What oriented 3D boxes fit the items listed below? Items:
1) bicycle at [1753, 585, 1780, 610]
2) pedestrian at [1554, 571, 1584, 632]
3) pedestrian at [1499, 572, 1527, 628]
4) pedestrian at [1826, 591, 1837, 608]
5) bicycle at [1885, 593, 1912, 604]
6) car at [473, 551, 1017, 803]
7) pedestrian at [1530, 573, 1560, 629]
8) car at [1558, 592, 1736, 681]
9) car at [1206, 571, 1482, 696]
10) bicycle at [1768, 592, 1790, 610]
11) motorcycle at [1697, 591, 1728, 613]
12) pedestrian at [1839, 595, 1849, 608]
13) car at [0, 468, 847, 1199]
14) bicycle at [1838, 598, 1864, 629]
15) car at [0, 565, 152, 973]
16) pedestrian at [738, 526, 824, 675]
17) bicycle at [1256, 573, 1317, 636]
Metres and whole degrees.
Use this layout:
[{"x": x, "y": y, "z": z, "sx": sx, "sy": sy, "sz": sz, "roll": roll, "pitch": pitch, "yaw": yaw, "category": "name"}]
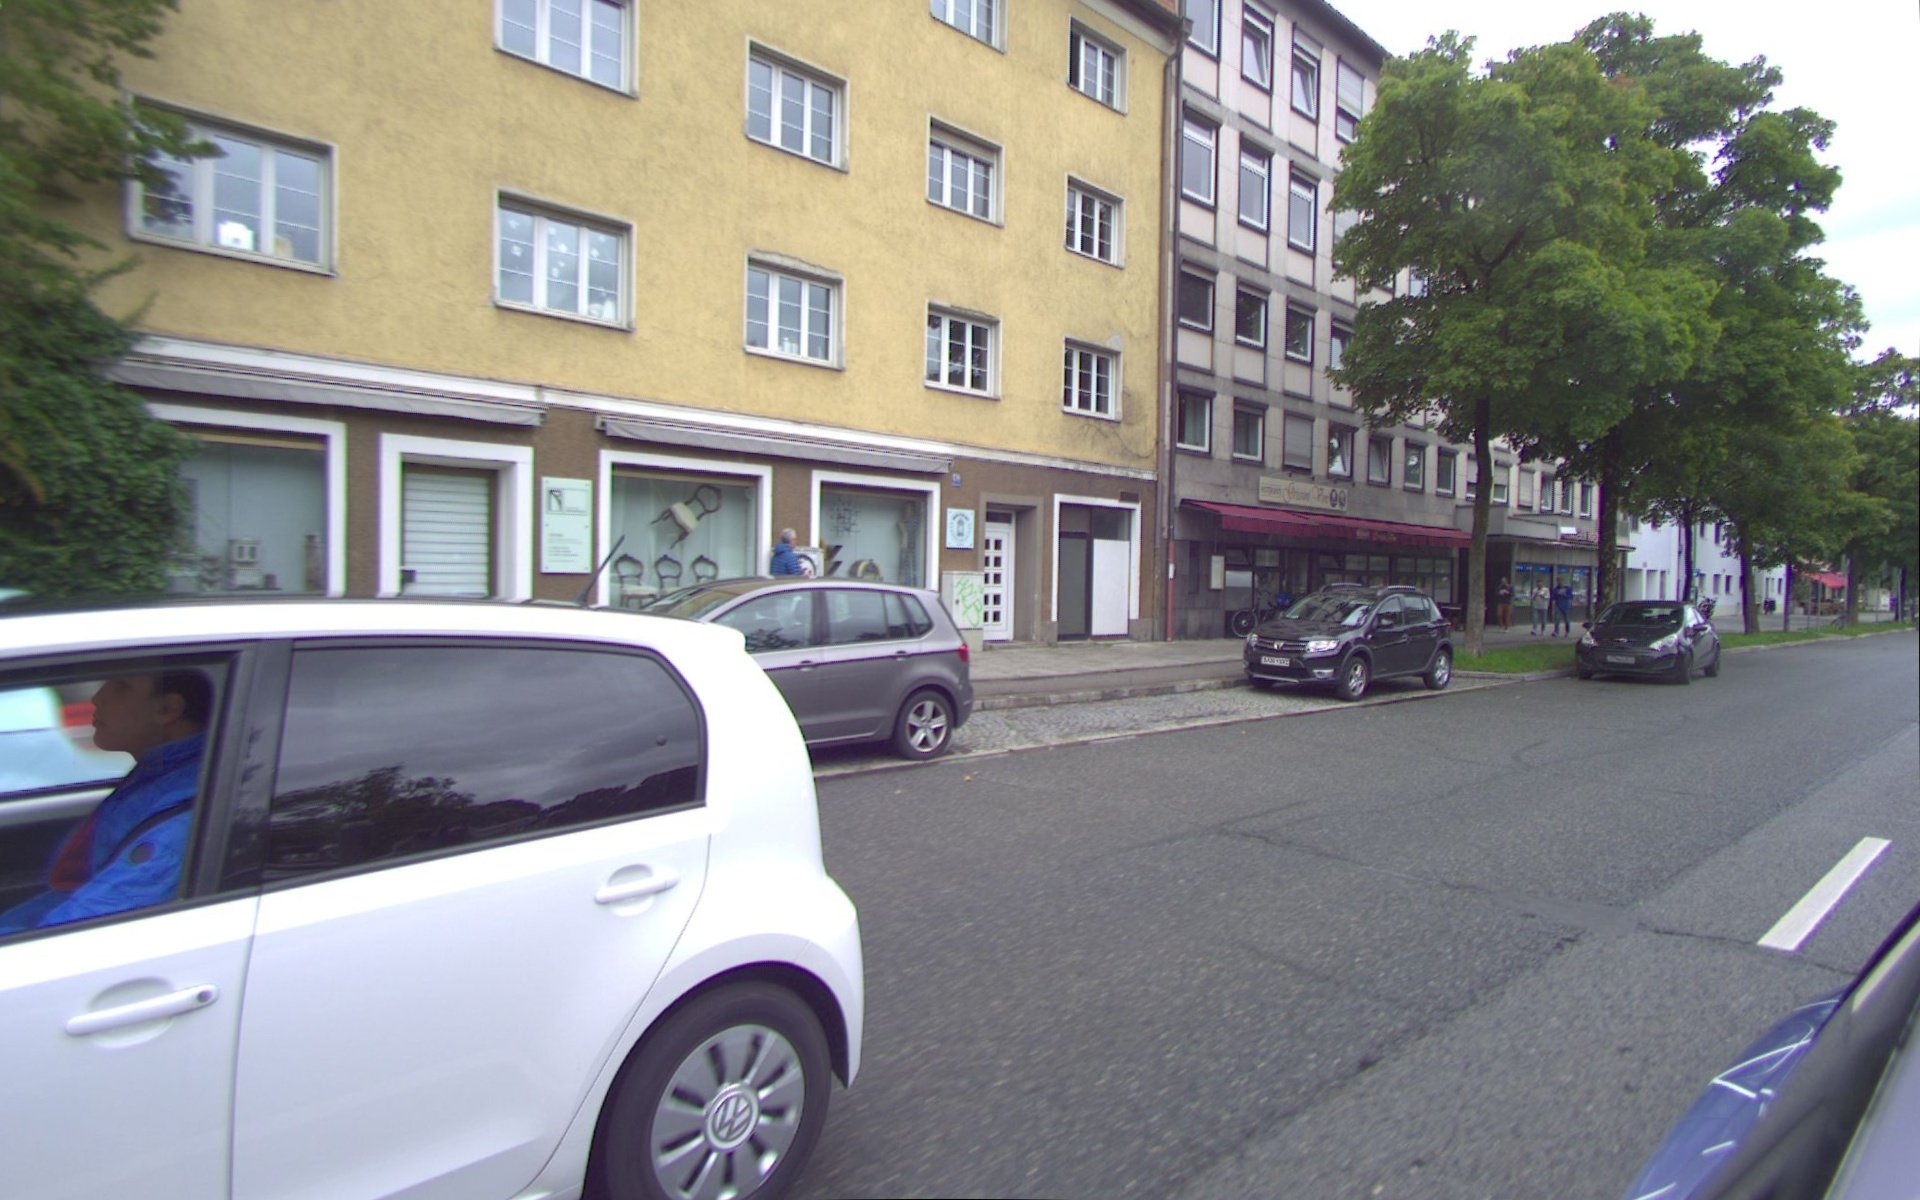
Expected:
[{"x": 49.243, "y": -0.156, "z": 61.765, "sx": 2.547, "sy": 1.424, "sz": 0.704, "roll": 0, "pitch": 5, "yaw": -41, "category": "bicycle"}, {"x": 17.910, "y": 0.045, "z": 29.761, "sx": 0.720, "sy": 1.754, "sz": 0.501, "roll": 0, "pitch": 2, "yaw": -40, "category": "pedestrian"}, {"x": 16.992, "y": -0.002, "z": 31.089, "sx": 0.541, "sy": 1.661, "sz": 0.713, "roll": 3, "pitch": 2, "yaw": 43, "category": "pedestrian"}, {"x": 68.336, "y": -0.052, "z": 79.369, "sx": 0.543, "sy": 1.356, "sz": 0.539, "roll": 0, "pitch": 1, "yaw": -41, "category": "pedestrian"}, {"x": 99.529, "y": -0.138, "z": 107.332, "sx": 0.653, "sy": 1.081, "sz": 2.028, "roll": 0, "pitch": 1, "yaw": -44, "category": "bicycle"}, {"x": -1.691, "y": 0.479, "z": 8.756, "sx": 4.230, "sy": 1.646, "sz": 1.820, "roll": 0, "pitch": 3, "yaw": -40, "category": "car"}, {"x": 17.718, "y": 0.027, "z": 30.660, "sx": 0.630, "sy": 1.649, "sz": 0.550, "roll": 0, "pitch": 2, "yaw": -40, "category": "pedestrian"}, {"x": 12.886, "y": 0.592, "z": 18.907, "sx": 3.934, "sy": 1.470, "sz": 1.995, "roll": 0, "pitch": 1, "yaw": -44, "category": "car"}, {"x": 6.001, "y": 0.431, "z": 15.654, "sx": 4.251, "sy": 1.663, "sz": 2.000, "roll": 0, "pitch": 1, "yaw": -36, "category": "car"}, {"x": 52.555, "y": 0.066, "z": 64.920, "sx": 2.156, "sy": 1.059, "sz": 0.623, "roll": 0, "pitch": 5, "yaw": -41, "category": "bicycle"}, {"x": 38.332, "y": 0.102, "z": 51.529, "sx": 2.160, "sy": 1.099, "sz": 0.763, "roll": 0, "pitch": 2, "yaw": -40, "category": "motorcycle"}, {"x": 71.283, "y": 0.104, "z": 81.611, "sx": 0.478, "sy": 1.067, "sz": 0.539, "roll": 0, "pitch": 1, "yaw": -40, "category": "pedestrian"}, {"x": -2.080, "y": 0.564, "z": 1.928, "sx": 3.376, "sy": 1.509, "sz": 1.689, "roll": 0, "pitch": 0, "yaw": -42, "category": "car"}, {"x": 38.144, "y": 0.567, "z": 43.341, "sx": 0.452, "sy": 1.271, "sz": 2.126, "roll": 1, "pitch": 1, "yaw": 31, "category": "bicycle"}, {"x": -5.196, "y": 0.594, "z": 3.321, "sx": 3.927, "sy": 1.470, "sz": 1.658, "roll": 0, "pitch": 0, "yaw": -38, "category": "car"}, {"x": -2.368, "y": -0.015, "z": 13.363, "sx": 0.763, "sy": 1.878, "sz": 0.793, "roll": 0, "pitch": 3, "yaw": -43, "category": "pedestrian"}, {"x": 7.866, "y": 0.099, "z": 24.354, "sx": 1.658, "sy": 1.482, "sz": 0.581, "roll": 0, "pitch": 1, "yaw": -41, "category": "bicycle"}]
